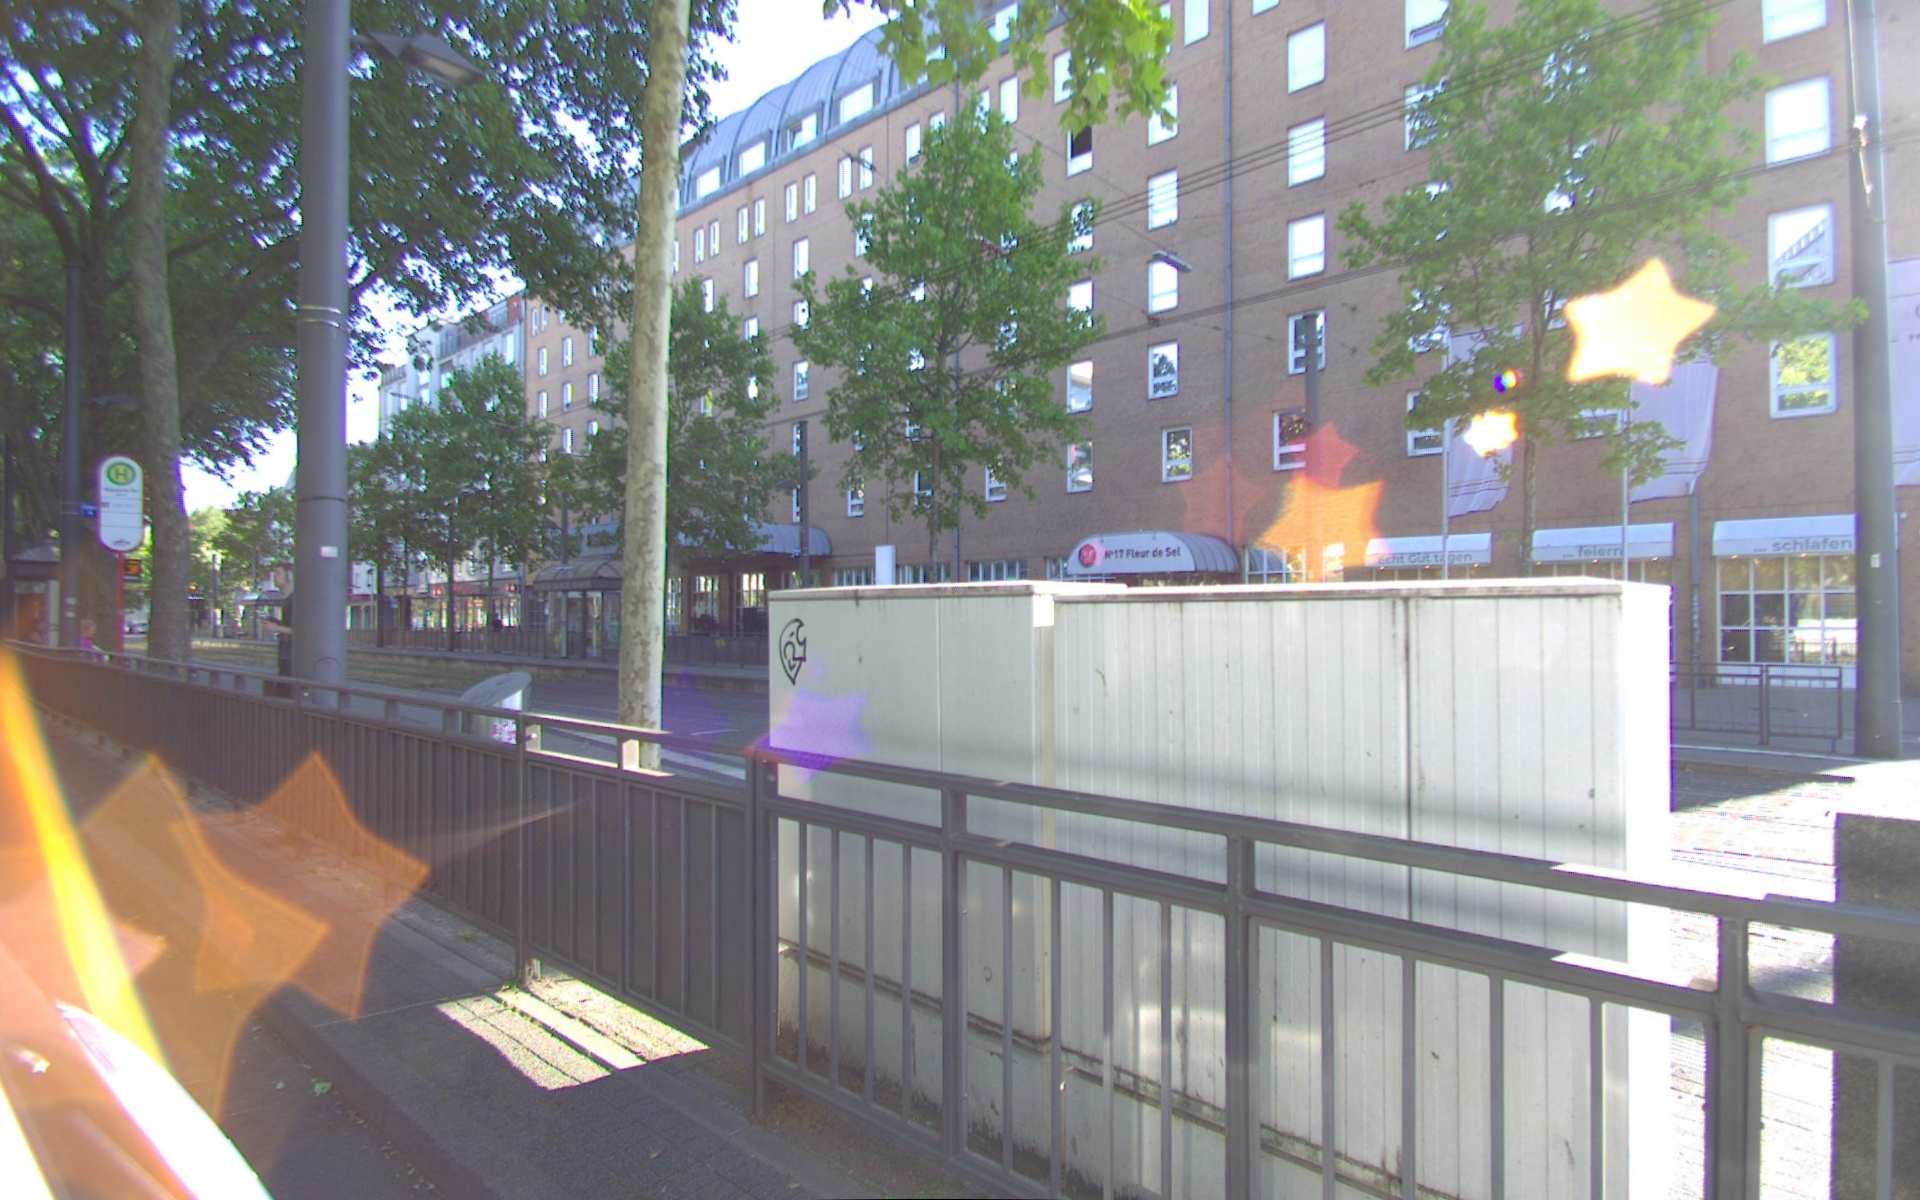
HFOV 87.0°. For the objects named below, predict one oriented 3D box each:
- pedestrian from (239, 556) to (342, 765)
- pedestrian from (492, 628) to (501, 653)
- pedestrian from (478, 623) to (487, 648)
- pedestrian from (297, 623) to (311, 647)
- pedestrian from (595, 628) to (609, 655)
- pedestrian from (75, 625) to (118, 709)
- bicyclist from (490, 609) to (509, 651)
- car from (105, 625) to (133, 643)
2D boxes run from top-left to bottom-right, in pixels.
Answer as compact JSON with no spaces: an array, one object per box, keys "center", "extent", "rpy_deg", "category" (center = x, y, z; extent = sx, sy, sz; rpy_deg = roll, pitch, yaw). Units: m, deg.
[{"center":[-6.365,0.545,9.629],"extent":[0.605,1.897,0.616],"rpy_deg":[1,0,35],"category":"pedestrian"},{"center":[-28.899,2.516,63.124],"extent":[0.431,1.532,0.660],"rpy_deg":[1,-2,-27],"category":"pedestrian"},{"center":[-29.643,2.184,62.817],"extent":[0.431,1.518,0.660],"rpy_deg":[1,-2,-27],"category":"pedestrian"},{"center":[-56.993,3.038,87.907],"extent":[0.763,2.029,0.796],"rpy_deg":[-2,-2,41],"category":"pedestrian"},{"center":[-19.230,2.219,54.414],"extent":[0.516,1.447,0.512],"rpy_deg":[-2,-2,44],"category":"pedestrian"},{"center":[-13.949,1.065,16.351],"extent":[0.493,1.325,0.419],"rpy_deg":[1,-2,-41],"category":"pedestrian"},{"center":[-21.431,1.386,47.084],"extent":[0.564,1.918,0.814],"rpy_deg":[2,-2,-43],"category":"bicyclist"},{"center":[-101.056,4.061,121.560],"extent":[3.998,2.029,1.973],"rpy_deg":[-1,-2,41],"category":"car"}]
